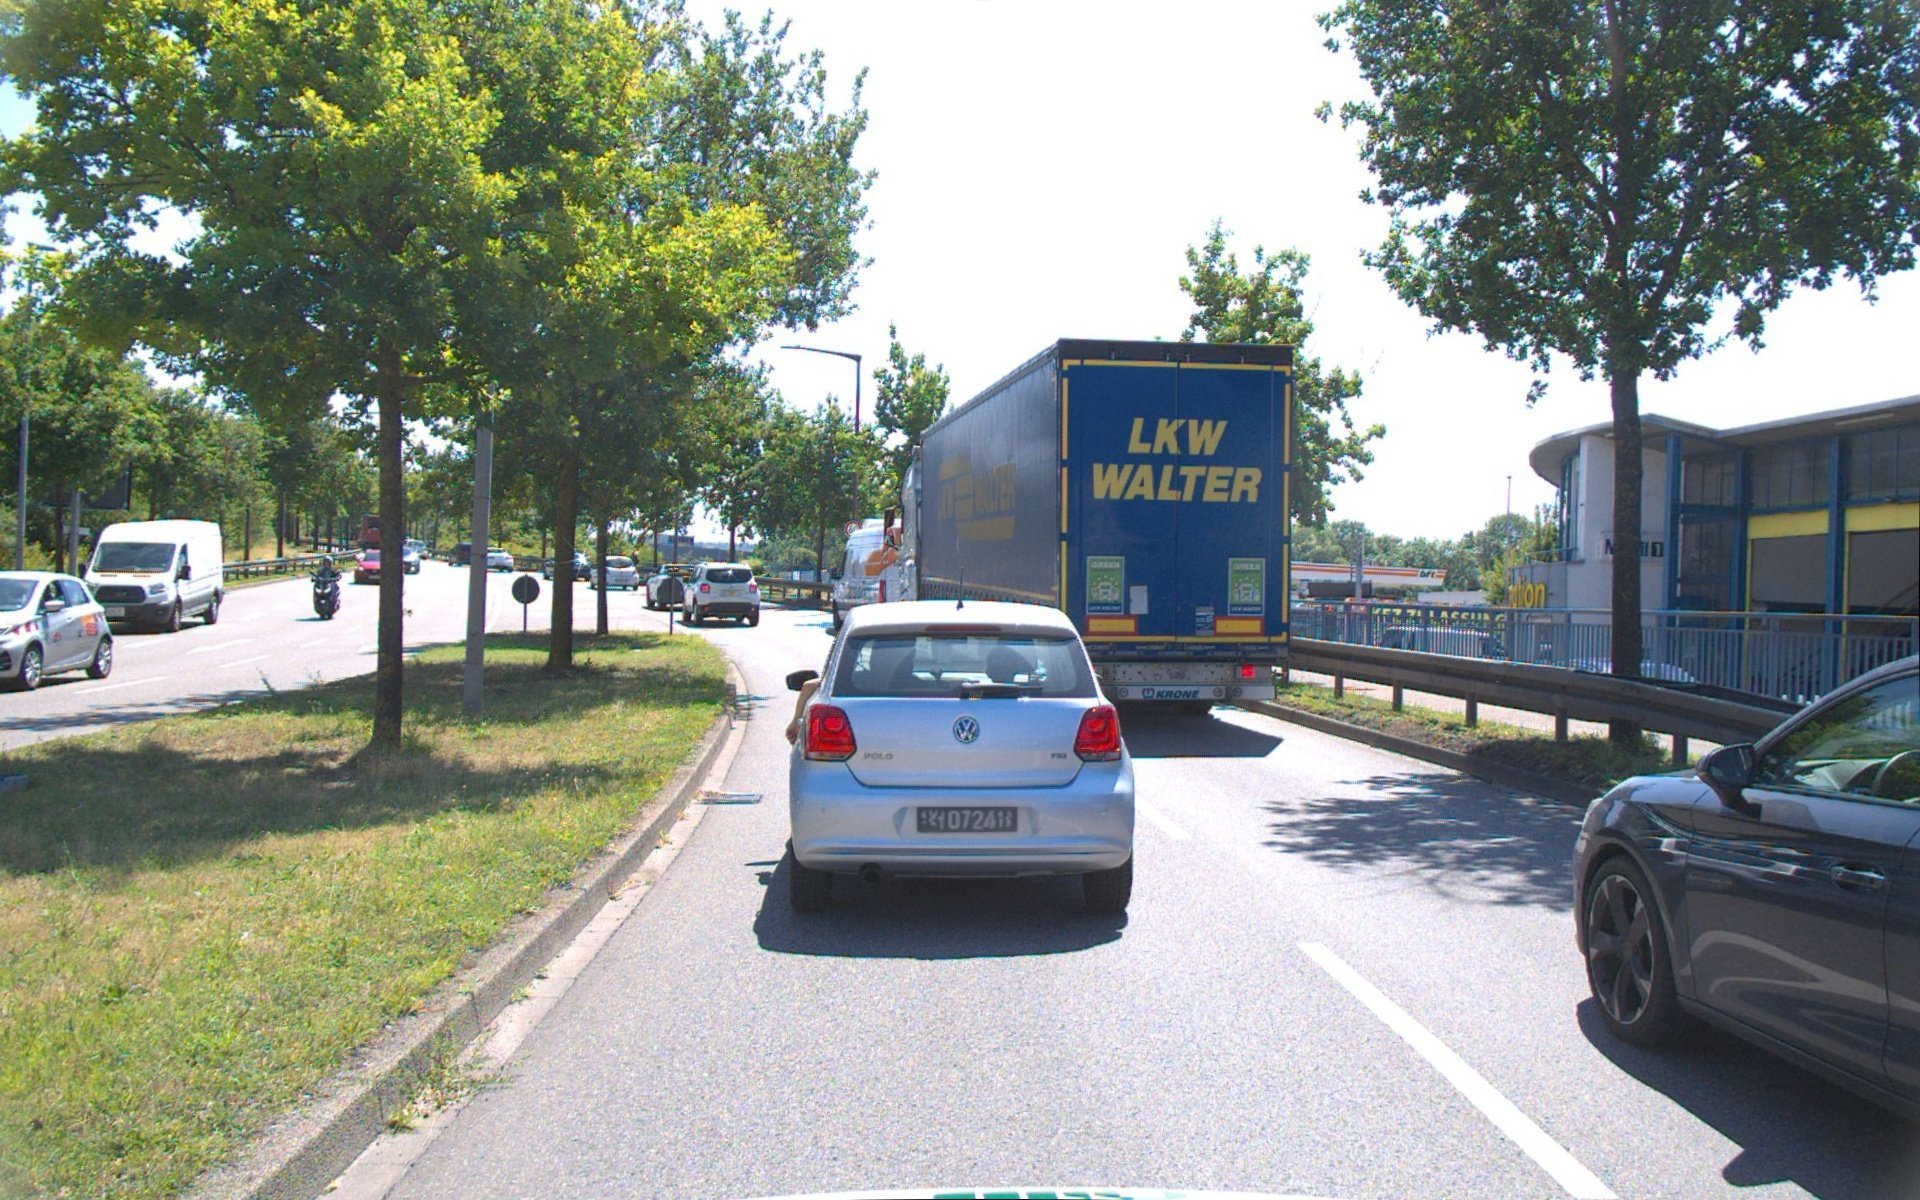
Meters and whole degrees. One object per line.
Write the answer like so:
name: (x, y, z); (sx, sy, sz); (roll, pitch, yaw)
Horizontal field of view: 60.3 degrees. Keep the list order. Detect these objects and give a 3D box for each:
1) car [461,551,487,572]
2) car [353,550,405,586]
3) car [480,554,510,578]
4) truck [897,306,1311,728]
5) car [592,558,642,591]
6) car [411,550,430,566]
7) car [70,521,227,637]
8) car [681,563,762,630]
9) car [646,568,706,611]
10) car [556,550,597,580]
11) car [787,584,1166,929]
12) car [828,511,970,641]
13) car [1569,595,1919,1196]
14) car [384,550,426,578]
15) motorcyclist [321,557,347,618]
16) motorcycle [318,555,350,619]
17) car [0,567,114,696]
car: (-32.148, -2.530, 109.315); (1.397, 1.337, 3.317); (1, 0, -20)
car: (-25.590, -1.380, 72.972); (1.801, 1.462, 4.507); (-1, 0, -15)
car: (-27.724, -2.028, 98.514); (1.435, 1.337, 3.616); (1, 0, -20)
truck: (1.195, -0.923, 25.199); (2.779, 4.271, 16.448); (1, 0, -7)
car: (-15.454, -1.151, 74.350); (1.585, 1.383, 3.639); (1, 1, -22)
car: (-41.866, -3.265, 128.316); (1.302, 1.158, 2.976); (1, 0, -21)
car: (-19.262, -0.549, 39.578); (2.058, 2.544, 5.791); (0, 2, -13)
car: (-6.714, -0.101, 46.274); (1.870, 1.748, 4.209); (1, 0, -13)
car: (-9.513, -0.366, 55.308); (1.471, 1.383, 3.644); (1, 1, -18)
car: (-20.157, -1.815, 86.878); (1.640, 1.490, 3.560); (1, 0, -20)
car: (0.022, 0.684, 8.919); (1.613, 1.464, 3.535); (1, 0, -2)
car: (-1.650, -0.647, 41.526); (2.140, 2.951, 6.333); (1, 1, -15)
car: (3.168, 0.744, 4.083); (1.572, 1.481, 4.232); (1, 0, -3)
car: (-29.624, -1.895, 88.366); (1.779, 1.357, 4.551); (1, 0, -15)
motorcyclist: (-17.186, -0.331, 45.413); (0.577, 1.655, 0.560); (1, -1, -16)
motorcycle: (-17.224, -0.359, 45.550); (0.588, 1.707, 2.415); (1, 0, -16)
car: (-13.191, 0.369, 22.963); (1.606, 1.594, 4.060); (0, 2, -13)
